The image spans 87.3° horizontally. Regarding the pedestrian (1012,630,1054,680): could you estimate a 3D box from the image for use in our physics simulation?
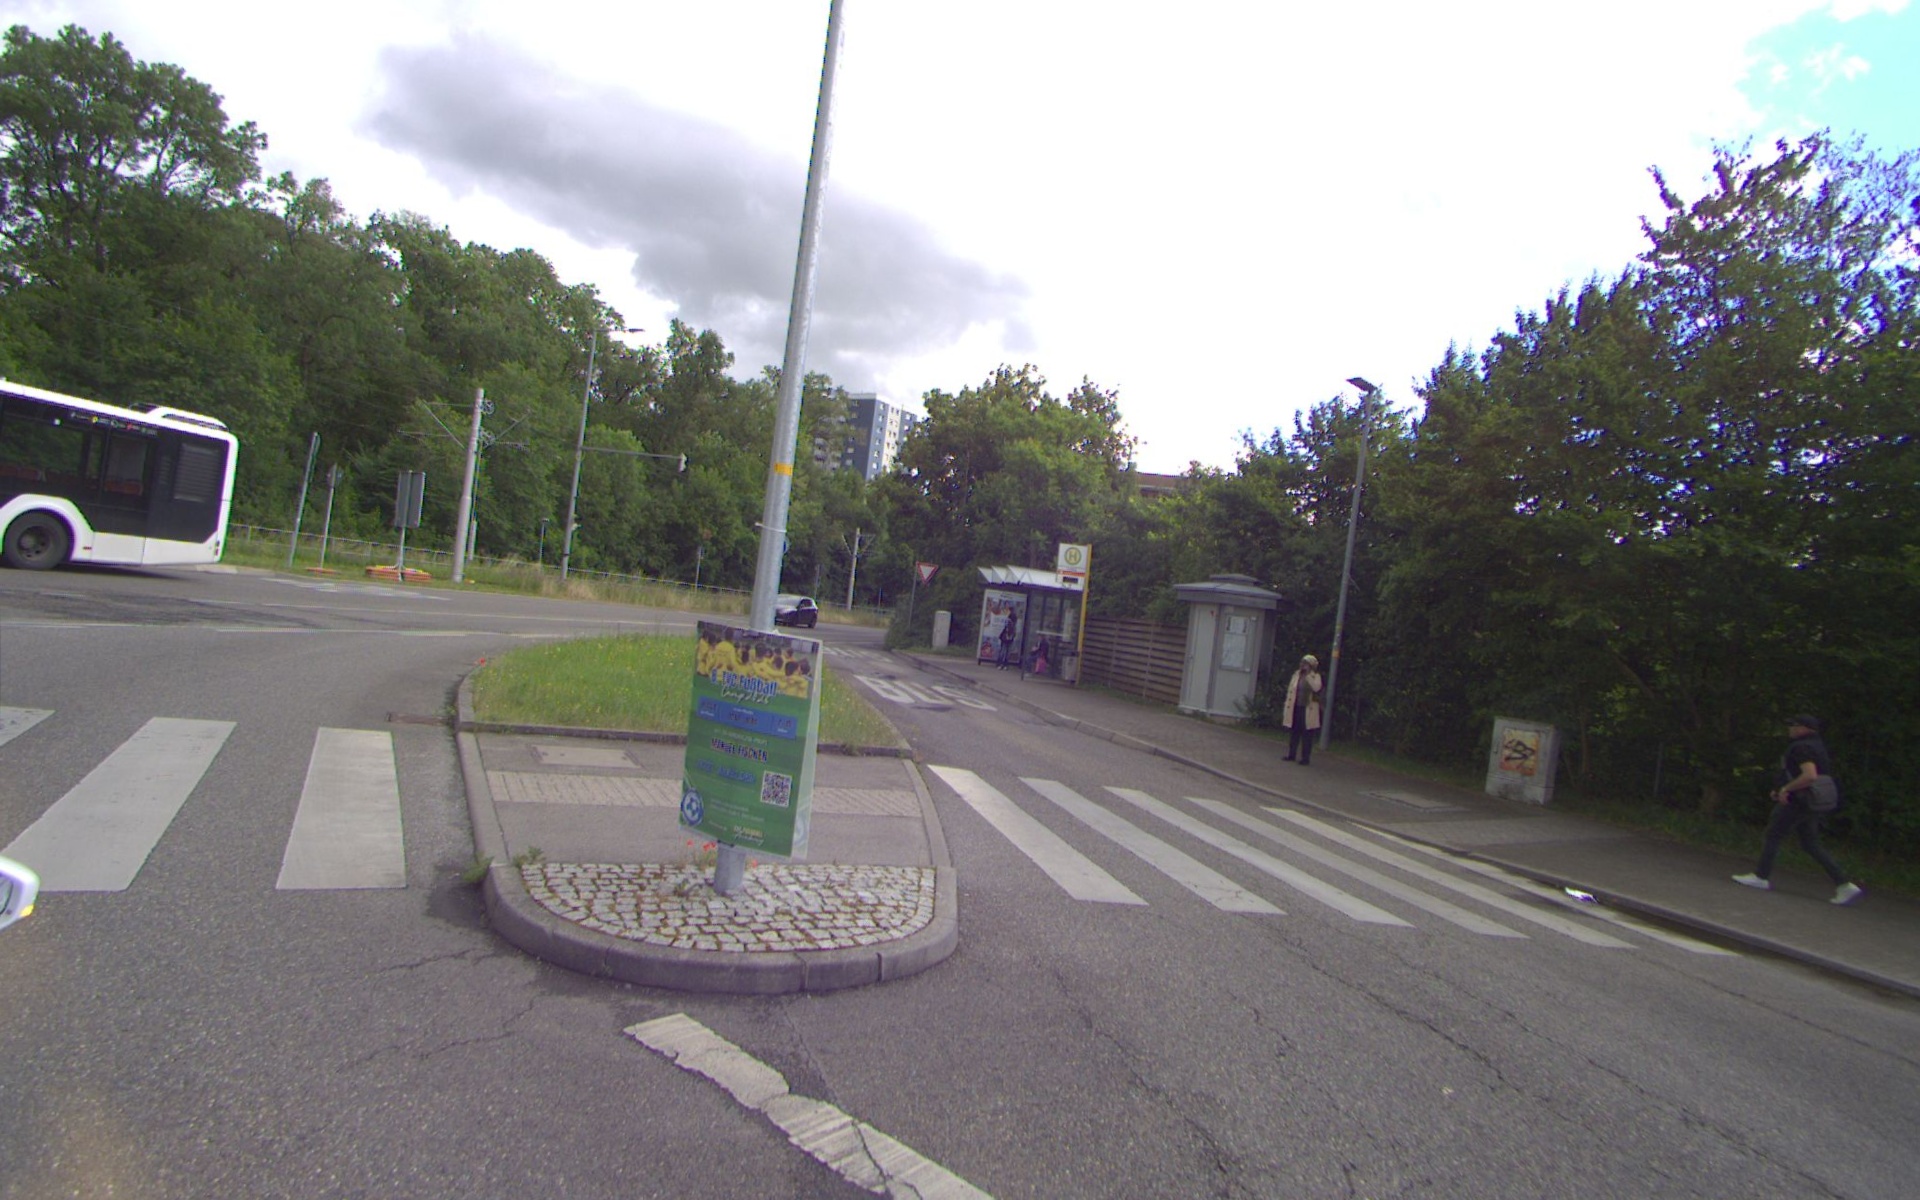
[{"bbox_3d":[1.912,1.444,26.499,0.739,1.184,0.768,7,0,-18],"label":"pedestrian"}]

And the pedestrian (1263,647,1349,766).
[{"bbox_3d":[5.188,1.593,15.122,0.677,1.614,0.767,7,2,-21],"label":"pedestrian"}]

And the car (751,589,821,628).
[{"bbox_3d":[-8.148,0.429,47.485,1.727,1.451,4.433,8,-1,10],"label":"car"}]

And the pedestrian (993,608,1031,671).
[{"bbox_3d":[1.476,1.098,28.494,0.758,1.670,0.686,7,0,-8],"label":"pedestrian"}]

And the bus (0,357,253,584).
[{"bbox_3d":[-16.456,-2.354,13.945,2.624,3.241,12.210,7,-1,11],"label":"bus"}]

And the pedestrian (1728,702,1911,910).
[{"bbox_3d":[8.578,2.032,10.067,0.847,1.844,0.978,7,0,-26],"label":"pedestrian"}]
